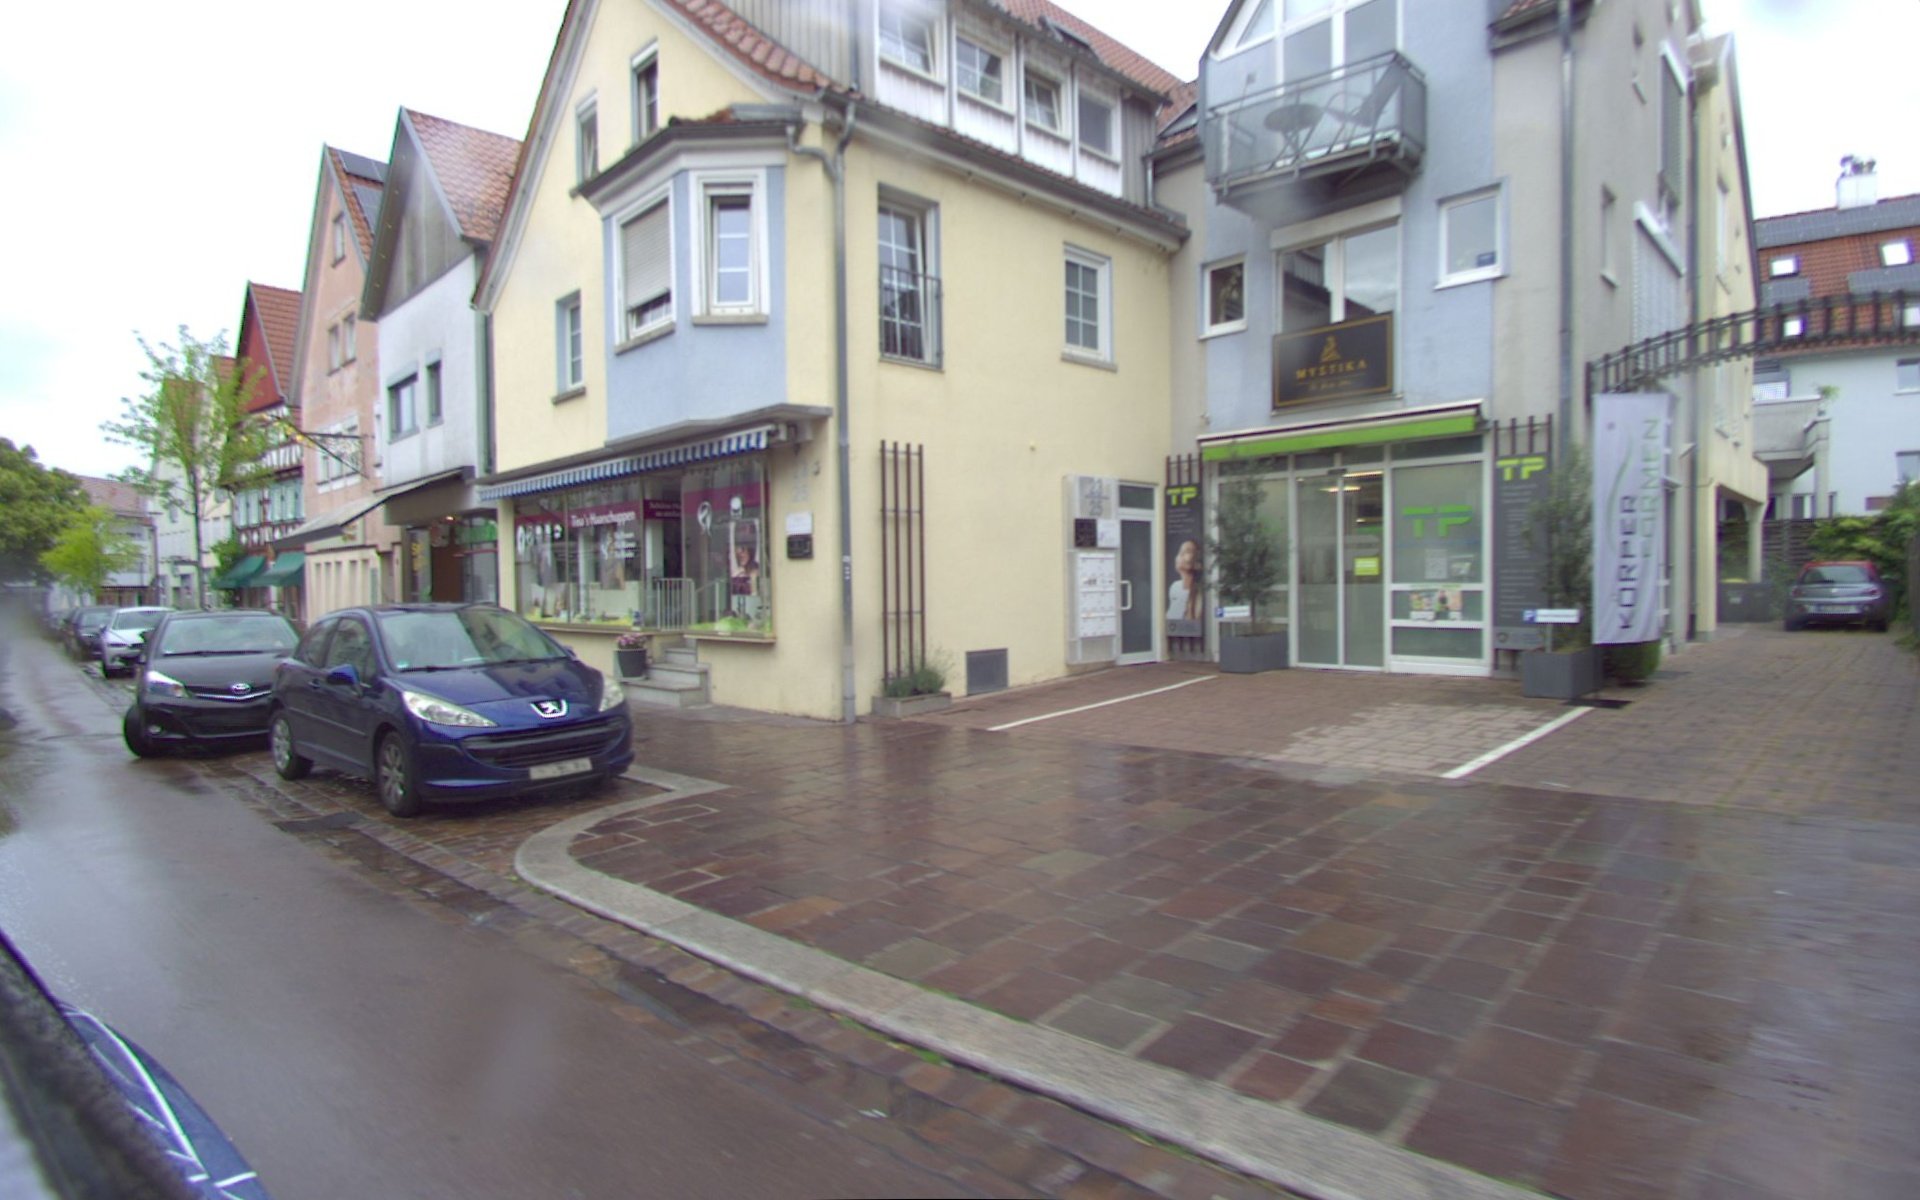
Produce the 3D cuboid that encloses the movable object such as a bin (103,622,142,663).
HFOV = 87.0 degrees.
[{"bbox_3d":[-24.020,1.206,29.042,0.676,1.090,0.761,1,2,42],"label":"movable object such as a bin"}]

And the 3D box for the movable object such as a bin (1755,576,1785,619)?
[{"bbox_3d":[19.340,-0.074,24.177,0.538,1.009,0.348,1,2,38],"label":"movable object such as a bin"}]

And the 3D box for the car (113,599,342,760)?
[{"bbox_3d":[-8.455,0.790,11.543,1.671,1.454,3.889,-3,1,-42],"label":"car"}]

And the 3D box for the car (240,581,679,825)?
[{"bbox_3d":[-4.216,0.683,8.261,3.940,1.485,1.739,-2,1,40],"label":"car"}]

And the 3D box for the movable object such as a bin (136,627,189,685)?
[{"bbox_3d":[-16.030,1.113,20.342,0.777,1.093,0.694,-3,1,-41],"label":"movable object such as a bin"}]

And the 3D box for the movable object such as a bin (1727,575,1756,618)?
[{"bbox_3d":[18.741,-0.096,24.282,0.538,1.009,0.348,1,2,38],"label":"movable object such as a bin"}]

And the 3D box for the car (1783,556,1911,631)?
[{"bbox_3d":[19.154,-0.200,21.812,1.866,1.463,3.721,1,3,44],"label":"car"}]

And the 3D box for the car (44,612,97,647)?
[{"bbox_3d":[-43.642,1.418,49.701,1.839,1.536,4.334,-4,2,-41],"label":"car"}]

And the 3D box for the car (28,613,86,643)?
[{"bbox_3d":[-47.700,1.461,53.445,4.619,1.453,1.842,-1,0,43],"label":"car"}]

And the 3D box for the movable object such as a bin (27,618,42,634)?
[{"bbox_3d":[-65.374,1.828,71.487,0.530,1.151,0.730,0,-1,-13],"label":"movable object such as a bin"}]

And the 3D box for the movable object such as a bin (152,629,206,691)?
[{"bbox_3d":[-14.244,1.079,18.460,0.700,1.060,0.705,-3,0,-42],"label":"movable object such as a bin"}]

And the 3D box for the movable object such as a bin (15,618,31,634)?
[{"bbox_3d":[-66.023,1.828,71.323,0.530,1.139,0.730,1,-1,-13],"label":"movable object such as a bin"}]

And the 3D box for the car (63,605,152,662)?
[{"bbox_3d":[-26.642,1.024,31.572,1.759,1.549,4.293,-4,1,-44],"label":"car"}]

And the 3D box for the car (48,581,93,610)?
[{"bbox_3d":[-51.112,-0.227,58.180,1.839,1.536,4.334,-4,2,-41],"label":"car"}]

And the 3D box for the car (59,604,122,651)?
[{"bbox_3d":[-35.894,1.087,41.755,1.802,1.678,4.648,-3,3,-42],"label":"car"}]

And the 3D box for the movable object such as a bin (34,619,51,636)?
[{"bbox_3d":[-64.867,1.939,71.542,0.715,1.091,0.607,-1,2,-19],"label":"movable object such as a bin"}]

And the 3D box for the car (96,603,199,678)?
[{"bbox_3d":[-19.304,0.919,23.981,1.671,1.550,4.126,-3,1,-41],"label":"car"}]

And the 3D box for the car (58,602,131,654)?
[{"bbox_3d":[-31.151,0.978,36.364,1.802,1.679,4.647,-3,1,-42],"label":"car"}]
